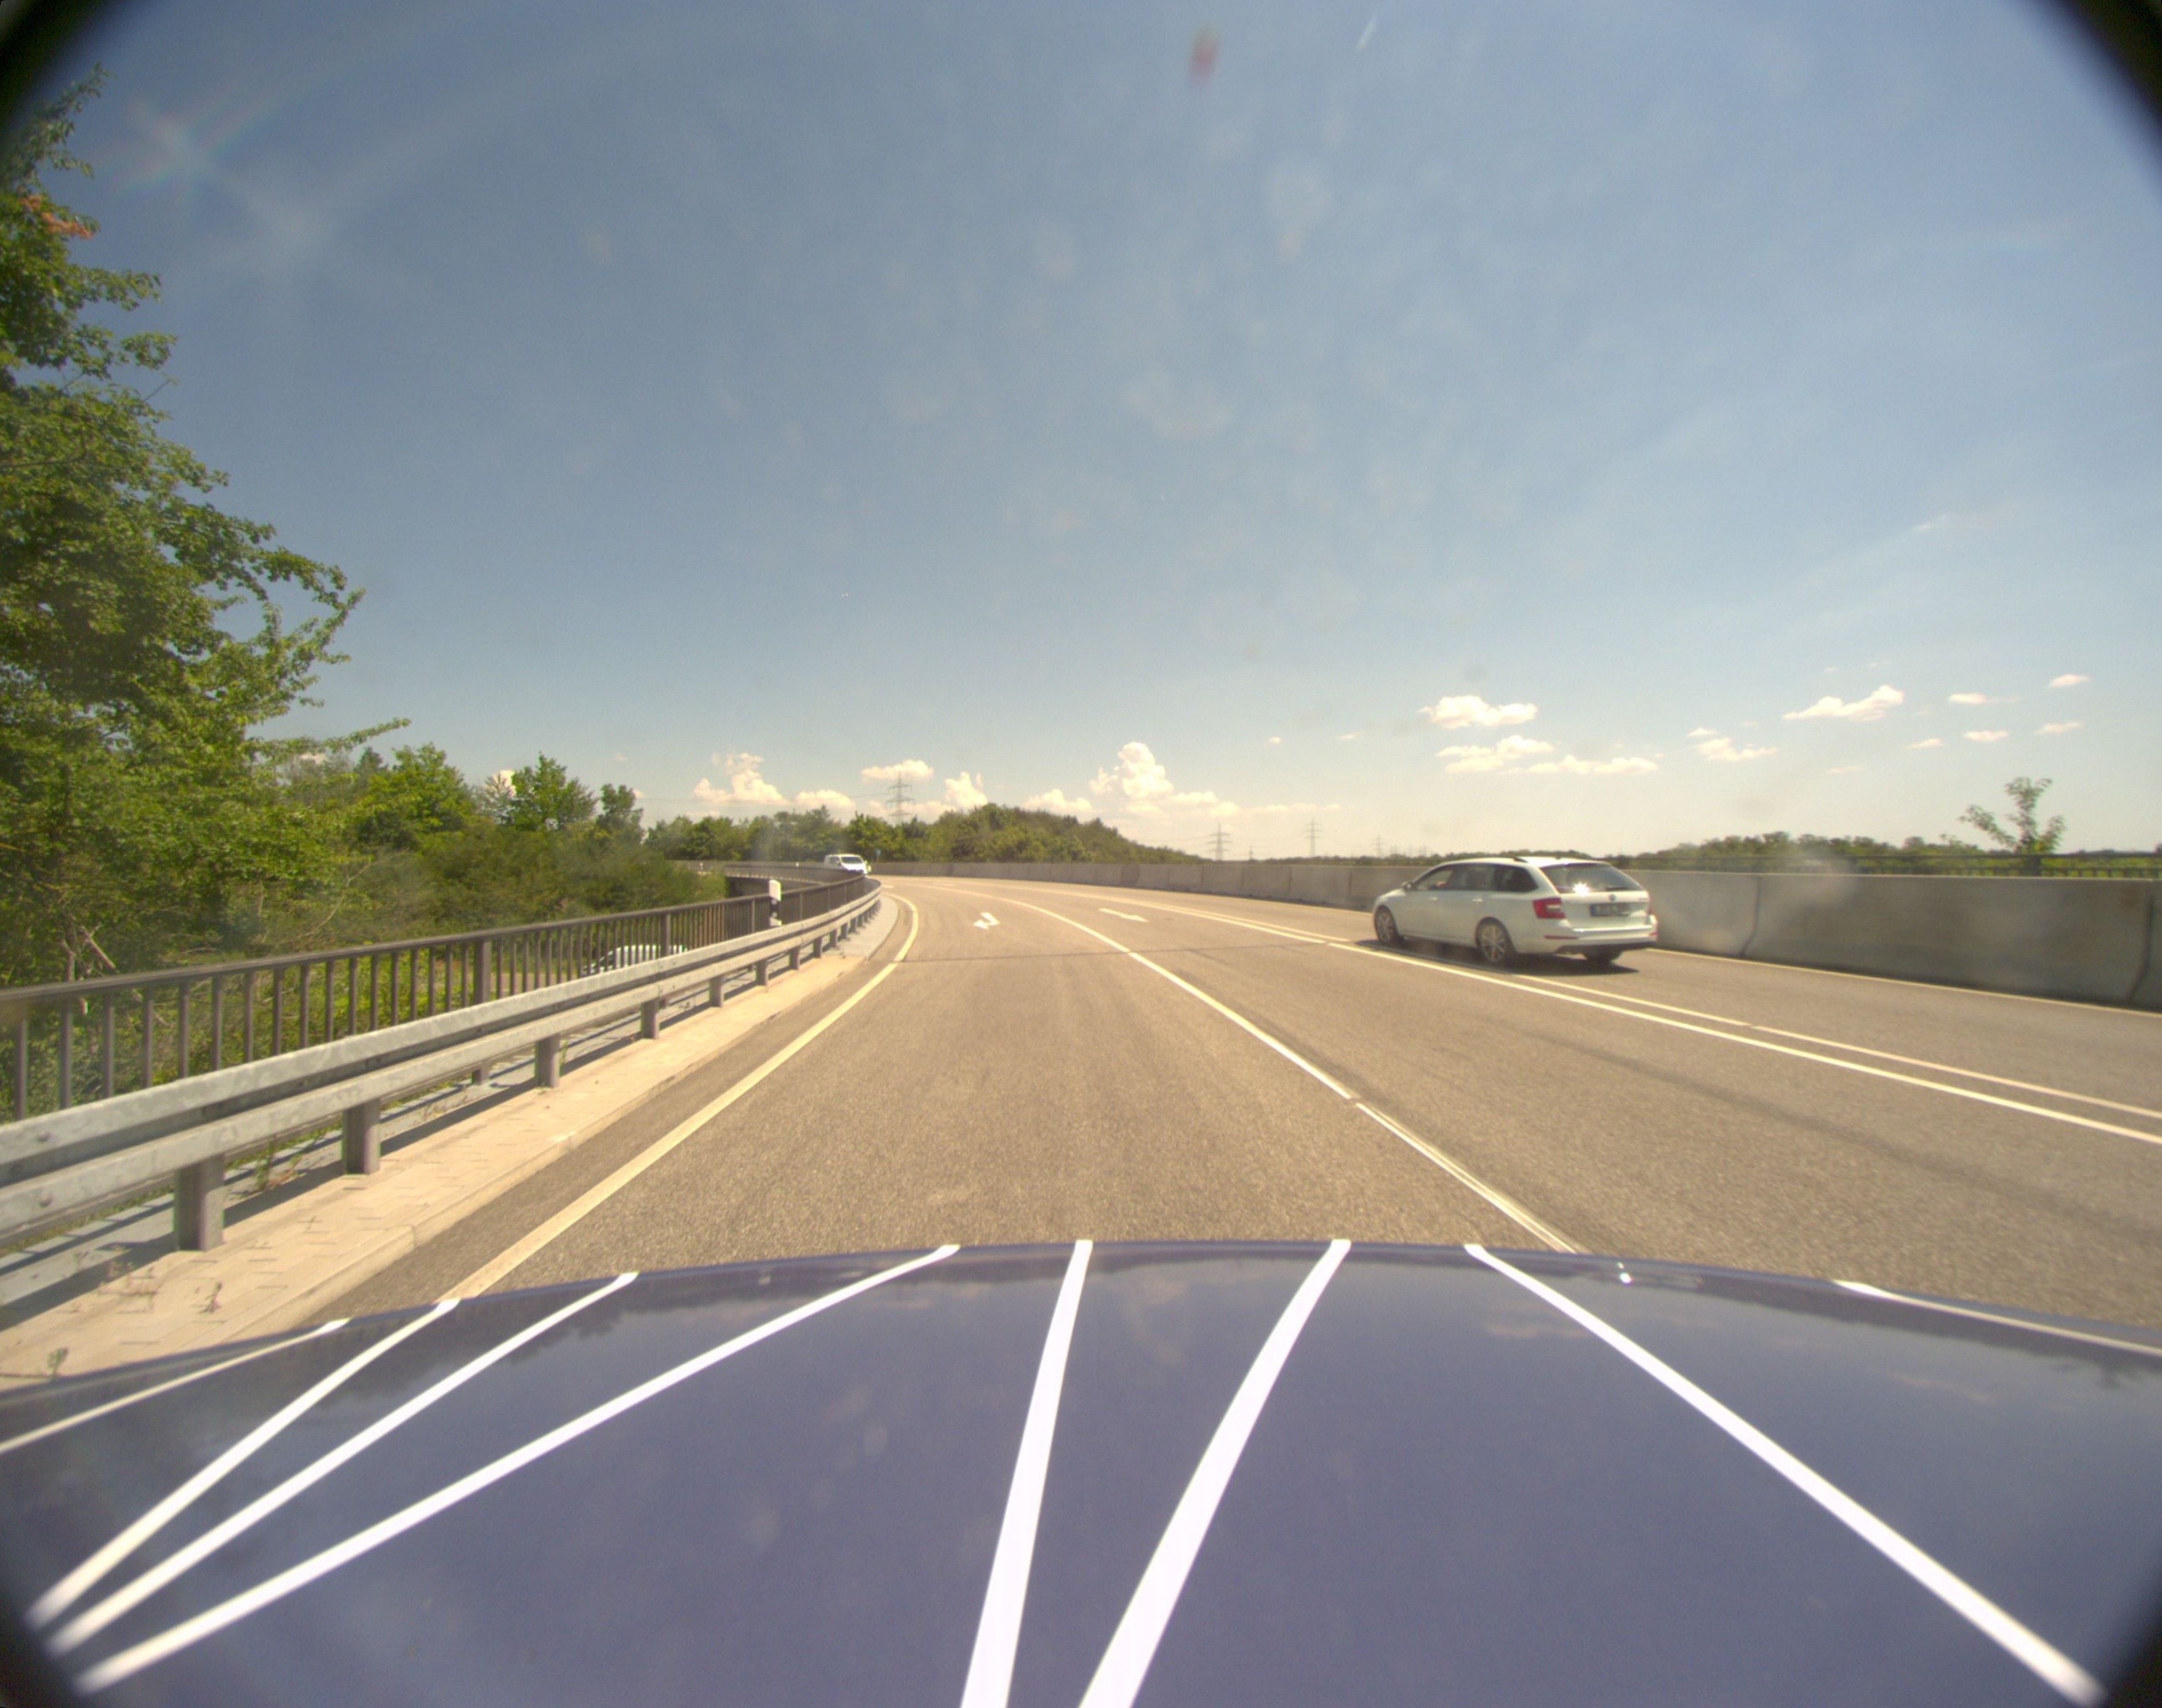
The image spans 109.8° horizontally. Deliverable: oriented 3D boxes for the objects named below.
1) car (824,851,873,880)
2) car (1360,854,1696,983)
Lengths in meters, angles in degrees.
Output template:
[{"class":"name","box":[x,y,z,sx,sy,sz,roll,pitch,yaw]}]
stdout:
[{"class":"car","box":[-17.654,0.839,57.471,2.035,2.072,5.857,0,0,-33]},{"class":"car","box":[6.106,0.767,11.174,1.793,1.486,4.548,0,-1,-9]}]
